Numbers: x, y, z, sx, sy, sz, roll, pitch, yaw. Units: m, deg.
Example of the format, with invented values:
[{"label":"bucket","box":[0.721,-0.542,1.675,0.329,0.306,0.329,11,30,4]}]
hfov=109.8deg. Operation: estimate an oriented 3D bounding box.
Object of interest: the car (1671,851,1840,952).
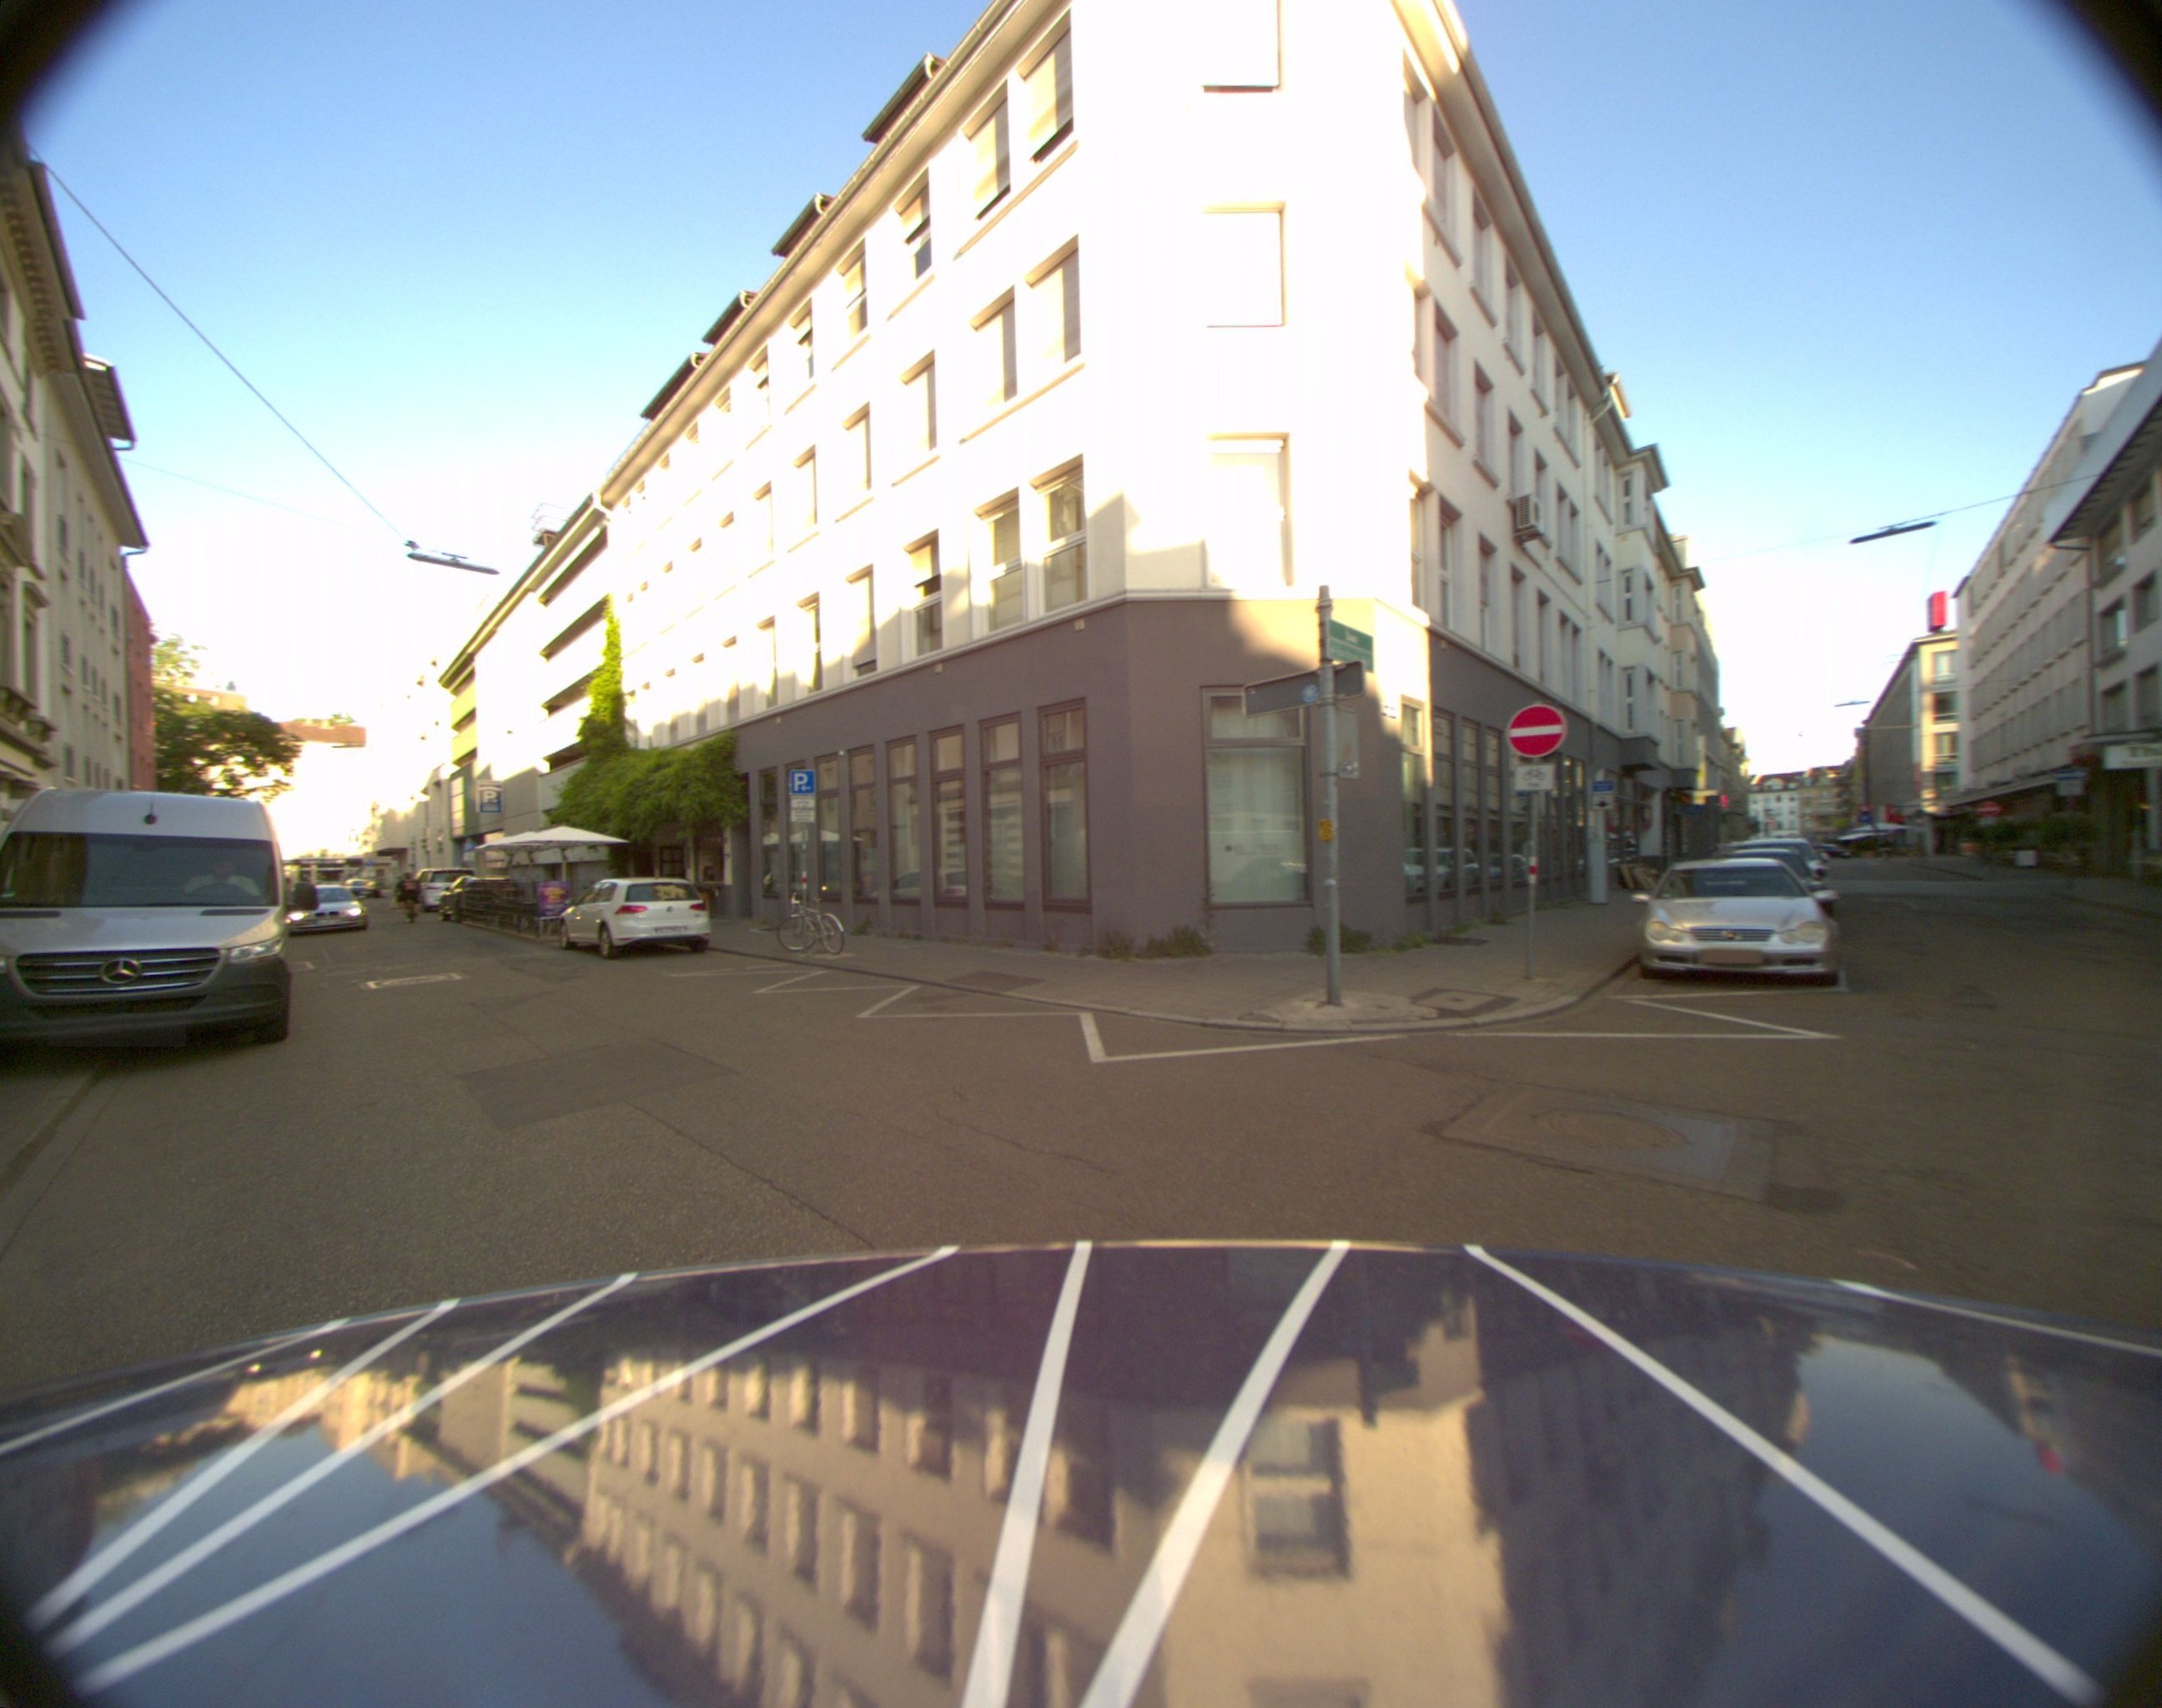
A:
[{"label":"car","box":[12.147,0.729,13.626,2.009,1.515,4.126,-1,0,44]}]

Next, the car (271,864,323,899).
[{"label":"car","box":[-48.911,1.673,47.464,2.004,2.002,3.989,-1,0,-43]}]

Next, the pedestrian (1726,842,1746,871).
[{"label":"pedestrian","box":[48.232,0.187,55.952,1.029,2.162,0.887,-1,0,37]}]

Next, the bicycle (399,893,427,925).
[{"label":"bicycle","box":[-22.685,1.850,25.801,1.975,1.001,0.541,-1,0,44]}]

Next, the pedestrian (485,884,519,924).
[{"label":"pedestrian","box":[-17.344,1.483,22.771,0.554,1.159,0.740,-1,0,-14]}]

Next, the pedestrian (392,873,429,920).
[{"label":"pedestrian","box":[-22.807,1.433,25.855,1.079,1.536,0.833,-1,0,44]}]

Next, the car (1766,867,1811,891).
[{"label":"car","box":[34.362,1.181,36.897,1.511,1.053,3.474,-1,0,44]}]

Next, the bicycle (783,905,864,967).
[{"label":"bicycle","box":[-4.332,1.342,12.723,1.639,0.900,0.599,-1,0,45]}]

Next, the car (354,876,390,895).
[{"label":"car","box":[-56.863,2.522,60.916,2.005,1.409,4.545,2,-1,-43]}]

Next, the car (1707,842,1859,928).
[{"label":"car","box":[16.287,0.630,17.631,2.330,1.734,4.497,-1,0,44]}]

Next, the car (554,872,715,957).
[{"label":"car","box":[-8.818,1.077,14.877,3.871,1.405,1.666,-1,0,43]}]

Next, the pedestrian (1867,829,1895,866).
[{"label":"pedestrian","box":[56.817,-0.477,53.982,1.245,2.599,1.470,-1,1,43]}]

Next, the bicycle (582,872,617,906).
[{"label":"bicycle","box":[-17.172,1.224,27.101,1.789,1.153,0.646,-1,0,45]}]

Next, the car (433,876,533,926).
[{"label":"car","box":[-20.816,1.568,26.375,4.757,1.558,1.892,-1,-3,42]}]

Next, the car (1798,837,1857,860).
[{"label":"car","box":[66.721,-0.483,67.985,1.996,2.002,4.004,-1,1,13]}]

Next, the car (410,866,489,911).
[{"label":"car","box":[-28.681,1.515,34.439,4.837,1.928,2.005,-1,-2,42]}]

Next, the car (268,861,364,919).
[{"label":"car","box":[-23.081,1.029,22.876,3.989,1.516,1.793,-1,2,42]}]

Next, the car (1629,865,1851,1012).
[{"label":"car","box":[8.456,0.895,9.786,1.752,1.393,4.498,-3,-1,42]}]

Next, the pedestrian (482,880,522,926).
[{"label":"pedestrian","box":[-16.749,1.404,21.969,0.913,1.279,0.785,-1,0,44]}]

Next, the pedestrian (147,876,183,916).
[{"label":"pedestrian","box":[-34.991,1.582,29.042,0.659,1.477,0.829,-1,-1,43]}]

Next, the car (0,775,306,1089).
[{"label":"car","box":[-10.223,0.644,8.373,6.185,2.425,2.289,-1,0,45]}]
